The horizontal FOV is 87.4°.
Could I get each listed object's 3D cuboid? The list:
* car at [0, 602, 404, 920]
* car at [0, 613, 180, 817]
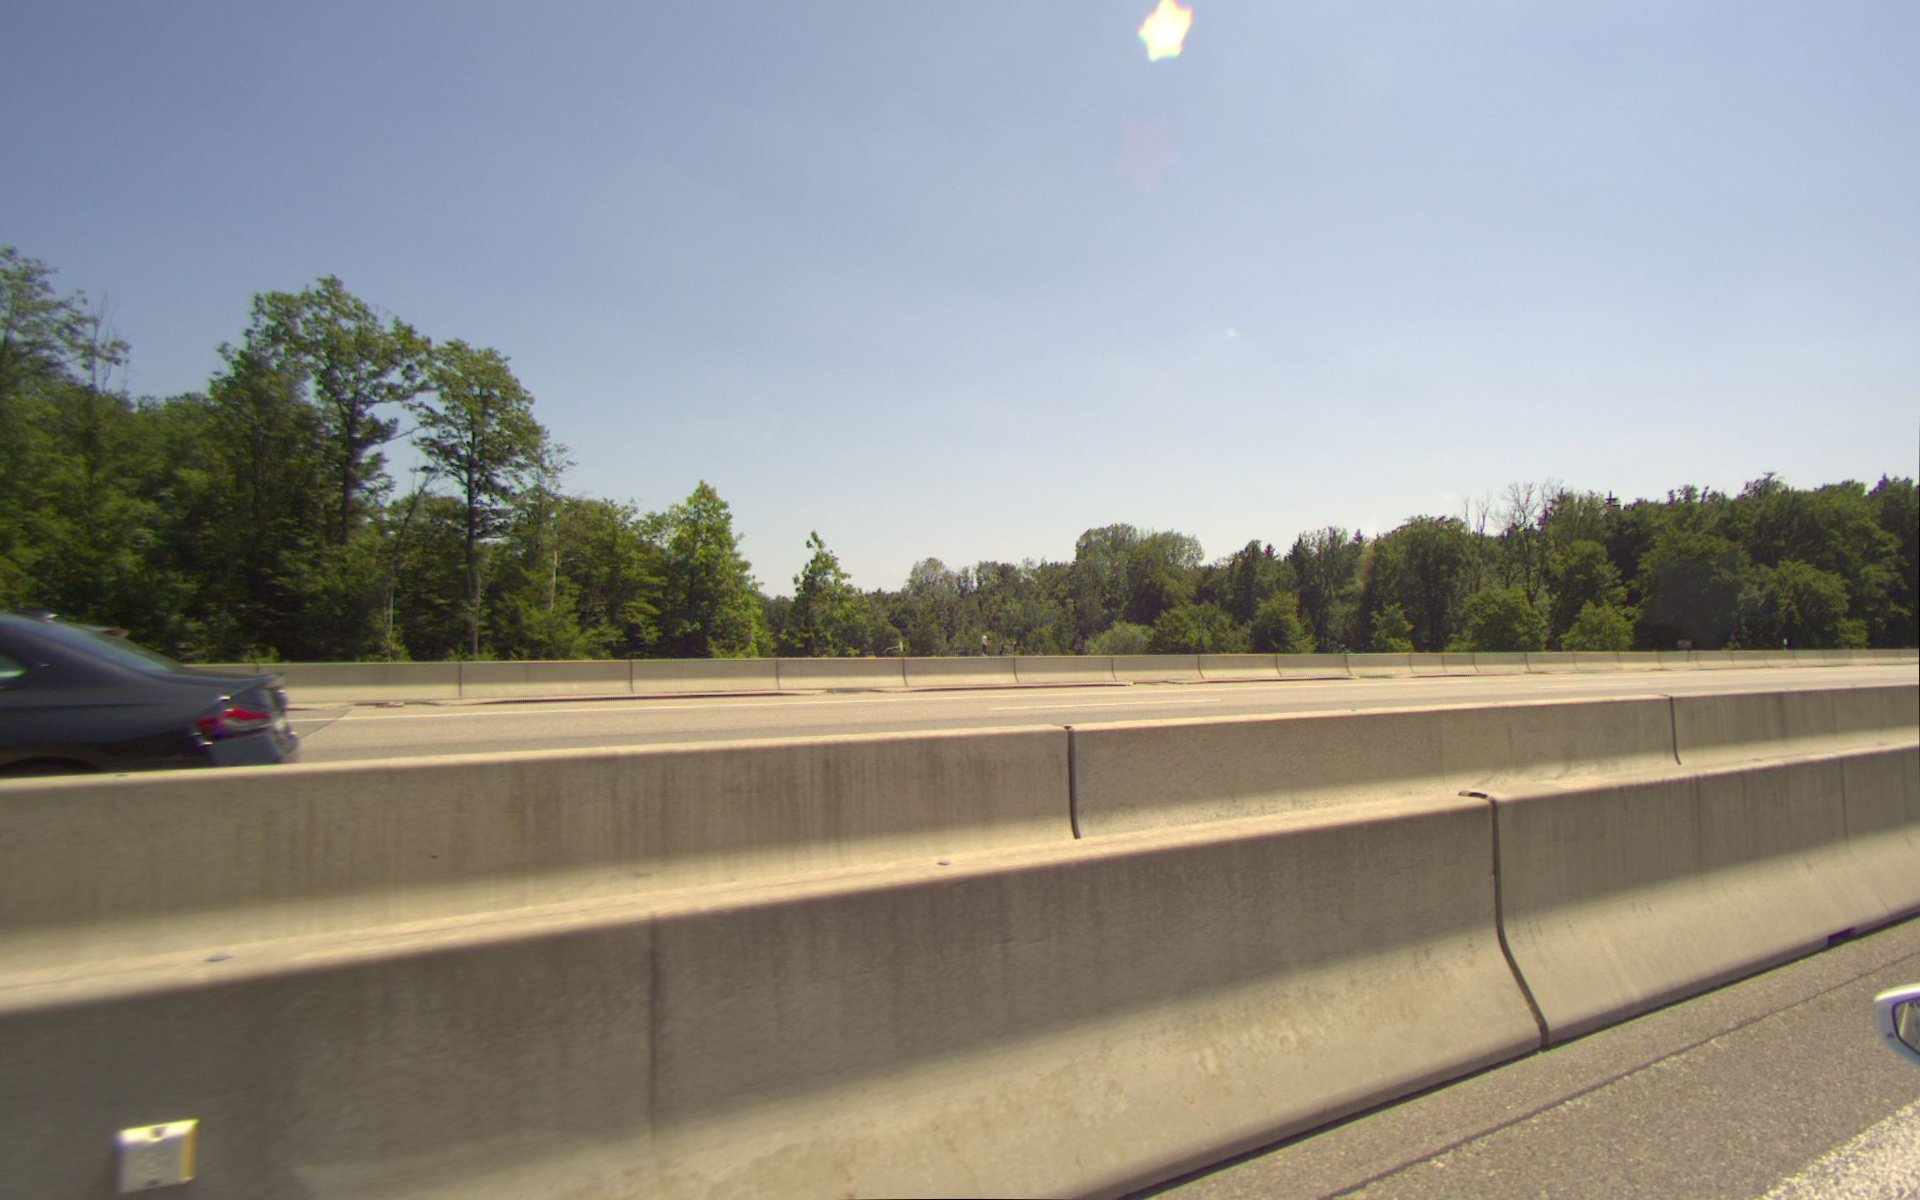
[{"bbox_3d":[-5.532,0.730,4.992,4.790,1.460,1.829,1,-1,-31],"label":"car"},{"bbox_3d":[-8.376,0.815,7.371,3.954,1.460,1.829,1,-1,-31],"label":"car"}]
